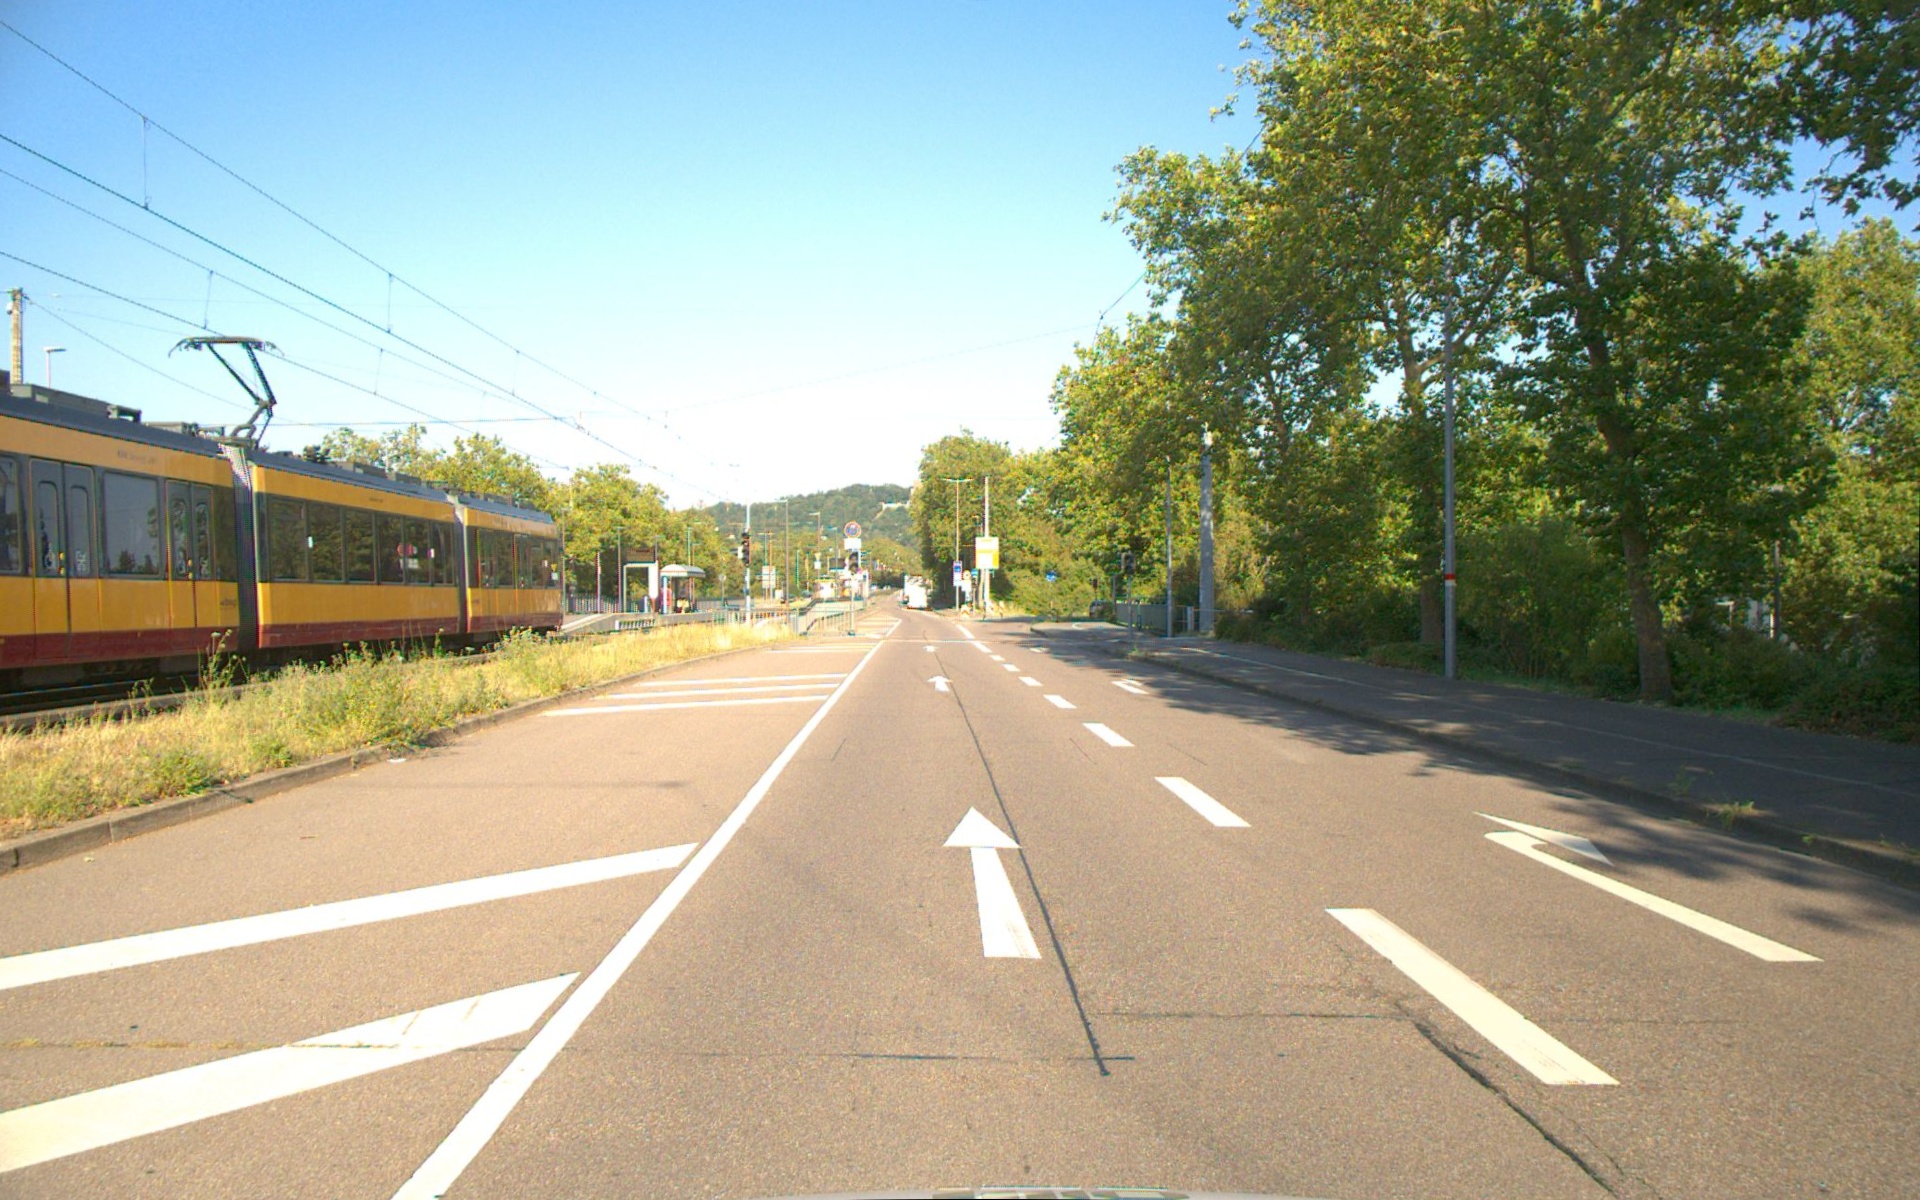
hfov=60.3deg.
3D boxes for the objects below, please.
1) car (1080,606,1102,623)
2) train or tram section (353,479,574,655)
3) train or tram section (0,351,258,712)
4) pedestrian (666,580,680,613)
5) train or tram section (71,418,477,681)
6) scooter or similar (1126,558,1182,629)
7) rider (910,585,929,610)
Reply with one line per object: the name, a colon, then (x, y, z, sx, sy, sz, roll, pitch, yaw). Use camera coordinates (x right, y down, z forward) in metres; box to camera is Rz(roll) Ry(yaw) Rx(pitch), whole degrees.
car: (12.354, 1.345, 156.090, 2.042, 1.593, 3.957, 1, 0, 5)
train or tram section: (-12.721, -0.753, 43.614, 2.767, 4.020, 10.831, 1, 0, -1)
train or tram section: (-12.110, -0.782, 19.171, 2.767, 4.020, 12.703, 1, 0, -1)
pedestrian: (-17.845, -0.210, 102.748, 0.729, 2.049, 0.608, 1, 0, -1)
train or tram section: (-12.432, -0.767, 31.864, 2.767, 4.020, 12.649, 1, 0, -1)
scooter or similar: (7.897, -0.261, 67.609, 1.647, 2.763, 4.868, 0, 0, -1)
rider: (-4.409, -0.259, 180.622, 2.064, 2.693, 0.737, 0, 0, 4)
